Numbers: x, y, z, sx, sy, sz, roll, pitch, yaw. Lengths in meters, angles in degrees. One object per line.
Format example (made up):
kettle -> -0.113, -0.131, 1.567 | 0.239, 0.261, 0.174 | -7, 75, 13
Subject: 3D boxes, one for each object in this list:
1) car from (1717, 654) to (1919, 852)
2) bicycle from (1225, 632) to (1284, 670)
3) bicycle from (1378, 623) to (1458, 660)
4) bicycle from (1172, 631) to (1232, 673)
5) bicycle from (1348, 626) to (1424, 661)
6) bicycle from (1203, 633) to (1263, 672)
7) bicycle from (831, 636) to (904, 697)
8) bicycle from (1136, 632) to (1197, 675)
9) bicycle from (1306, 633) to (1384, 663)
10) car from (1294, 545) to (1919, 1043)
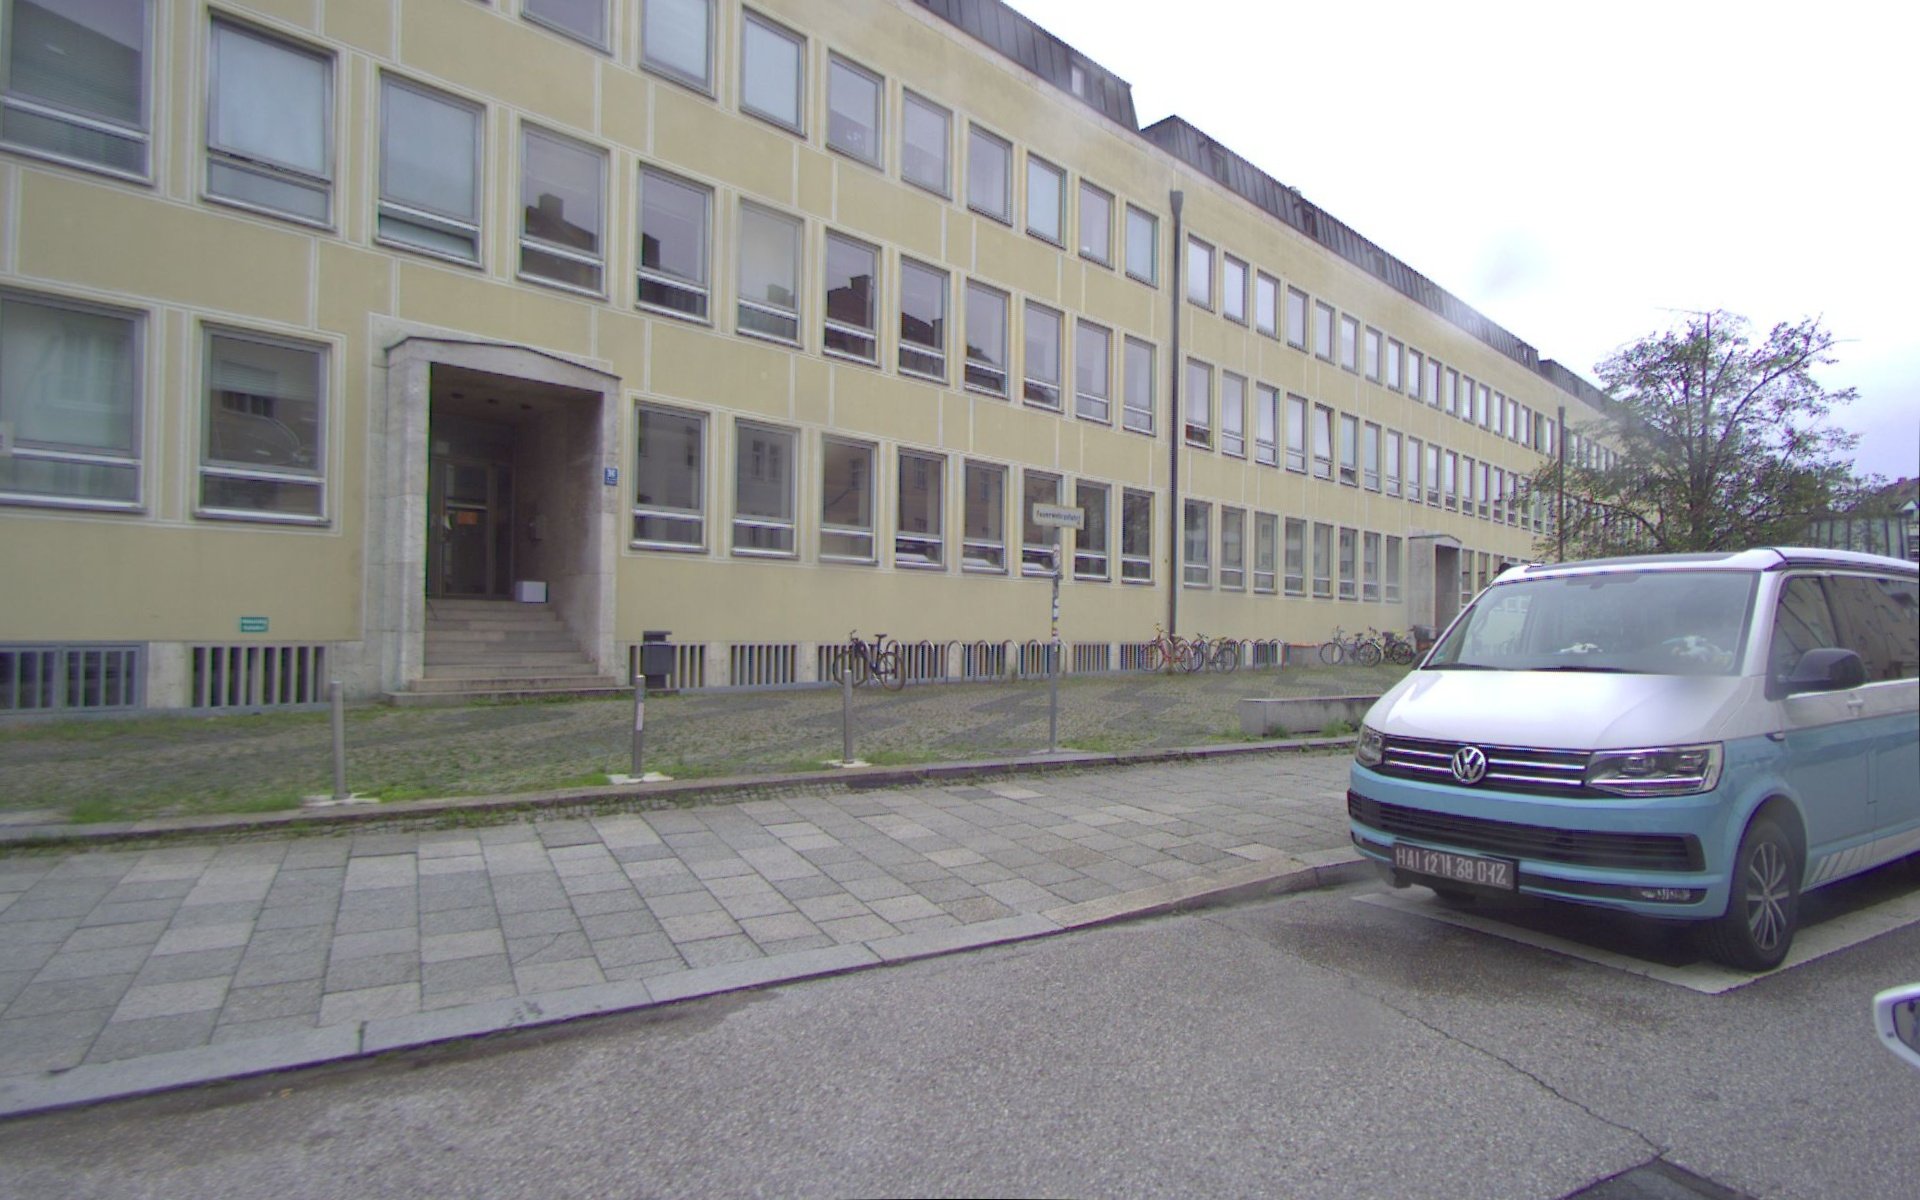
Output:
car -> 8.306, 1.181, 8.614 | 3.610, 1.391, 1.644 | 1, -3, -31
bicycle -> 7.885, 1.359, 26.932 | 0.364, 0.967, 1.512 | 1, 0, -45
bicycle -> 15.377, 1.369, 33.746 | 1.040, 1.184, 2.224 | 1, -1, -45
bicycle -> 6.076, 1.295, 25.277 | 0.364, 0.967, 1.512 | 1, 0, -45
bicycle -> 13.599, 1.387, 32.100 | 2.181, 1.051, 0.492 | -1, -2, 43
bicycle -> 7.137, 1.365, 26.307 | 0.364, 0.967, 1.512 | 1, 0, -45
bicycle -> -1.601, 1.123, 17.229 | 0.364, 0.967, 1.512 | 1, 0, -45
bicycle -> 4.994, 1.290, 24.351 | 0.364, 0.967, 1.512 | 1, 0, -45
bicycle -> 11.695, 1.458, 30.580 | 2.181, 0.846, 0.492 | -1, -2, 43
car -> 4.277, 0.837, 6.009 | 4.551, 1.957, 1.872 | 1, -3, -33
